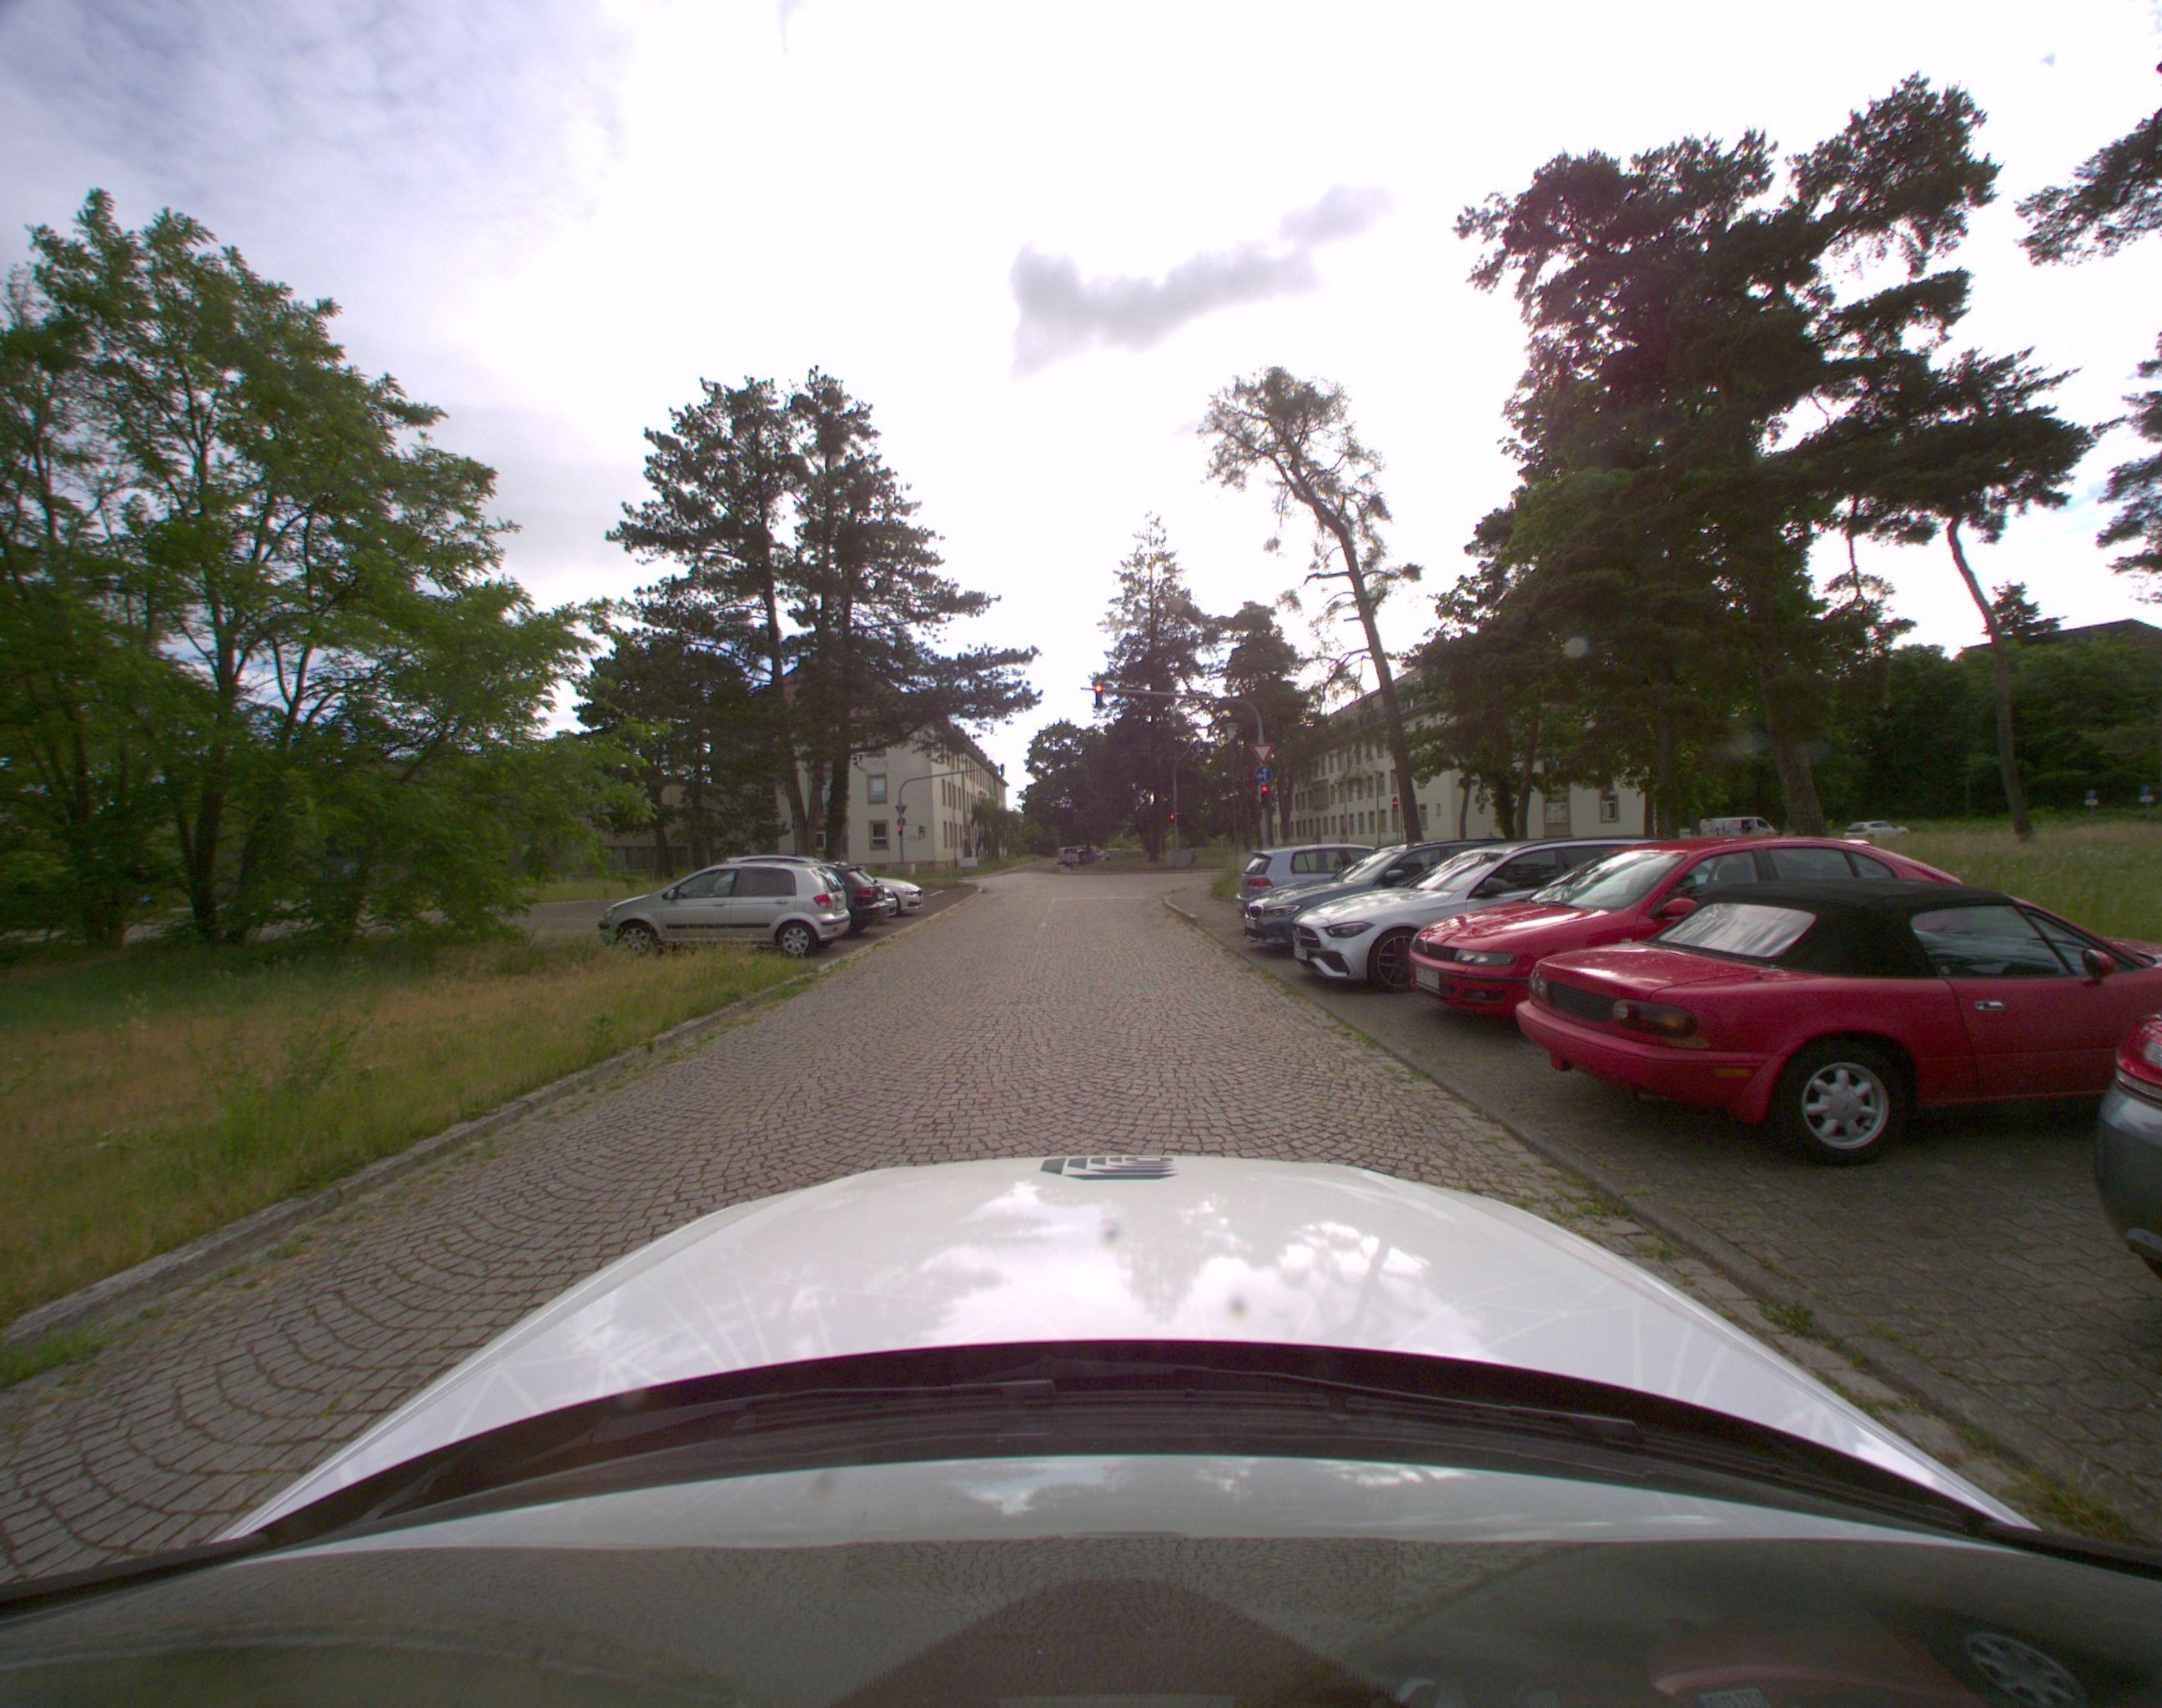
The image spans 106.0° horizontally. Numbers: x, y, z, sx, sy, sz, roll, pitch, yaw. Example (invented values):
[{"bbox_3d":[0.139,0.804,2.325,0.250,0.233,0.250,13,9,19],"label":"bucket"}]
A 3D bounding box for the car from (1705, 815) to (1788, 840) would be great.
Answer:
[{"bbox_3d":[56.002,-2.224,68.634,5.283,2.019,2.105,-1,0,0],"label":"car"}]

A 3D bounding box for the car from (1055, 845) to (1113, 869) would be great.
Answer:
[{"bbox_3d":[0.268,0.310,81.337,5.382,2.101,2.169,-2,0,-13],"label":"car"}]

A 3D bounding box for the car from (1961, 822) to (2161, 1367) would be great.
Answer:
[{"bbox_3d":[4.698,0.583,1.868,3.495,1.487,1.742,-3,0,-1],"label":"car"}]

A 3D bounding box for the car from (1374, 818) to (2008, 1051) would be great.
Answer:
[{"bbox_3d":[4.838,0.574,6.838,4.095,1.476,1.683,-3,0,-3],"label":"car"}]

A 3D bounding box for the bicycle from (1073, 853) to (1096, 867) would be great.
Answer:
[{"bbox_3d":[0.286,0.542,70.032,1.879,1.171,0.663,-1,0,-7],"label":"bicycle"}]

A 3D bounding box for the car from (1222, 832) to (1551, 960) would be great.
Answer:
[{"bbox_3d":[4.407,0.540,11.958,4.231,1.479,1.703,-3,0,-12],"label":"car"}]

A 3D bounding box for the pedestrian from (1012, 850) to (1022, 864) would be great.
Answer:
[{"bbox_3d":[-8.728,0.426,110.807,1.238,1.959,1.119,-1,0,-6],"label":"pedestrian"}]

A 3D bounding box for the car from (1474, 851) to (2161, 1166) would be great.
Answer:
[{"bbox_3d":[4.359,0.695,4.487,3.575,1.222,1.628,-3,0,0],"label":"car"}]

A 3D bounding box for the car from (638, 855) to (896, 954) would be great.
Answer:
[{"bbox_3d":[-5.974,0.920,15.964,4.294,1.554,1.808,-3,0,-7],"label":"car"}]

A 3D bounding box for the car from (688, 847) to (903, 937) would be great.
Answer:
[{"bbox_3d":[-6.431,0.830,18.759,4.293,1.732,1.649,-3,0,-6],"label":"car"}]

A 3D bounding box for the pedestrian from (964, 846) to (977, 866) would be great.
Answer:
[{"bbox_3d":[-10.680,0.182,78.817,1.071,1.959,1.121,-1,0,-1],"label":"pedestrian"}]

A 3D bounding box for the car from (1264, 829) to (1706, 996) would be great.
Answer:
[{"bbox_3d":[4.409,0.565,9.191,4.183,1.437,1.750,-3,0,-8],"label":"car"}]

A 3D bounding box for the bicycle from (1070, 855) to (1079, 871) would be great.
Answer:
[{"bbox_3d":[-0.502,0.700,61.885,0.661,1.171,1.887,-1,0,0],"label":"bicycle"}]

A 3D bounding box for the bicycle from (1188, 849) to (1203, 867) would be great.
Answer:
[{"bbox_3d":[7.200,0.248,51.410,0.661,1.051,1.887,-1,1,0],"label":"bicycle"}]

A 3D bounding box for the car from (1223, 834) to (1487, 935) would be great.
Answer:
[{"bbox_3d":[4.790,0.496,14.519,4.130,1.463,1.630,-3,0,-6],"label":"car"}]

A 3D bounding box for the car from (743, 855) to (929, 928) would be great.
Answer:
[{"bbox_3d":[-6.257,0.919,21.216,4.294,1.554,1.808,-3,0,-7],"label":"car"}]

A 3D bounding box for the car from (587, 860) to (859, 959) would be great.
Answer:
[{"bbox_3d":[-5.725,0.854,13.373,3.713,1.481,1.671,0,0,-4],"label":"car"}]

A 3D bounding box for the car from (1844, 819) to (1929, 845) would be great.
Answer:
[{"bbox_3d":[57.265,-1.546,57.928,4.118,1.804,1.900,-1,0,1],"label":"car"}]

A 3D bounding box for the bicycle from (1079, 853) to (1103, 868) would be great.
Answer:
[{"bbox_3d":[0.817,0.535,66.546,1.879,1.171,0.663,-1,0,-7],"label":"bicycle"}]
